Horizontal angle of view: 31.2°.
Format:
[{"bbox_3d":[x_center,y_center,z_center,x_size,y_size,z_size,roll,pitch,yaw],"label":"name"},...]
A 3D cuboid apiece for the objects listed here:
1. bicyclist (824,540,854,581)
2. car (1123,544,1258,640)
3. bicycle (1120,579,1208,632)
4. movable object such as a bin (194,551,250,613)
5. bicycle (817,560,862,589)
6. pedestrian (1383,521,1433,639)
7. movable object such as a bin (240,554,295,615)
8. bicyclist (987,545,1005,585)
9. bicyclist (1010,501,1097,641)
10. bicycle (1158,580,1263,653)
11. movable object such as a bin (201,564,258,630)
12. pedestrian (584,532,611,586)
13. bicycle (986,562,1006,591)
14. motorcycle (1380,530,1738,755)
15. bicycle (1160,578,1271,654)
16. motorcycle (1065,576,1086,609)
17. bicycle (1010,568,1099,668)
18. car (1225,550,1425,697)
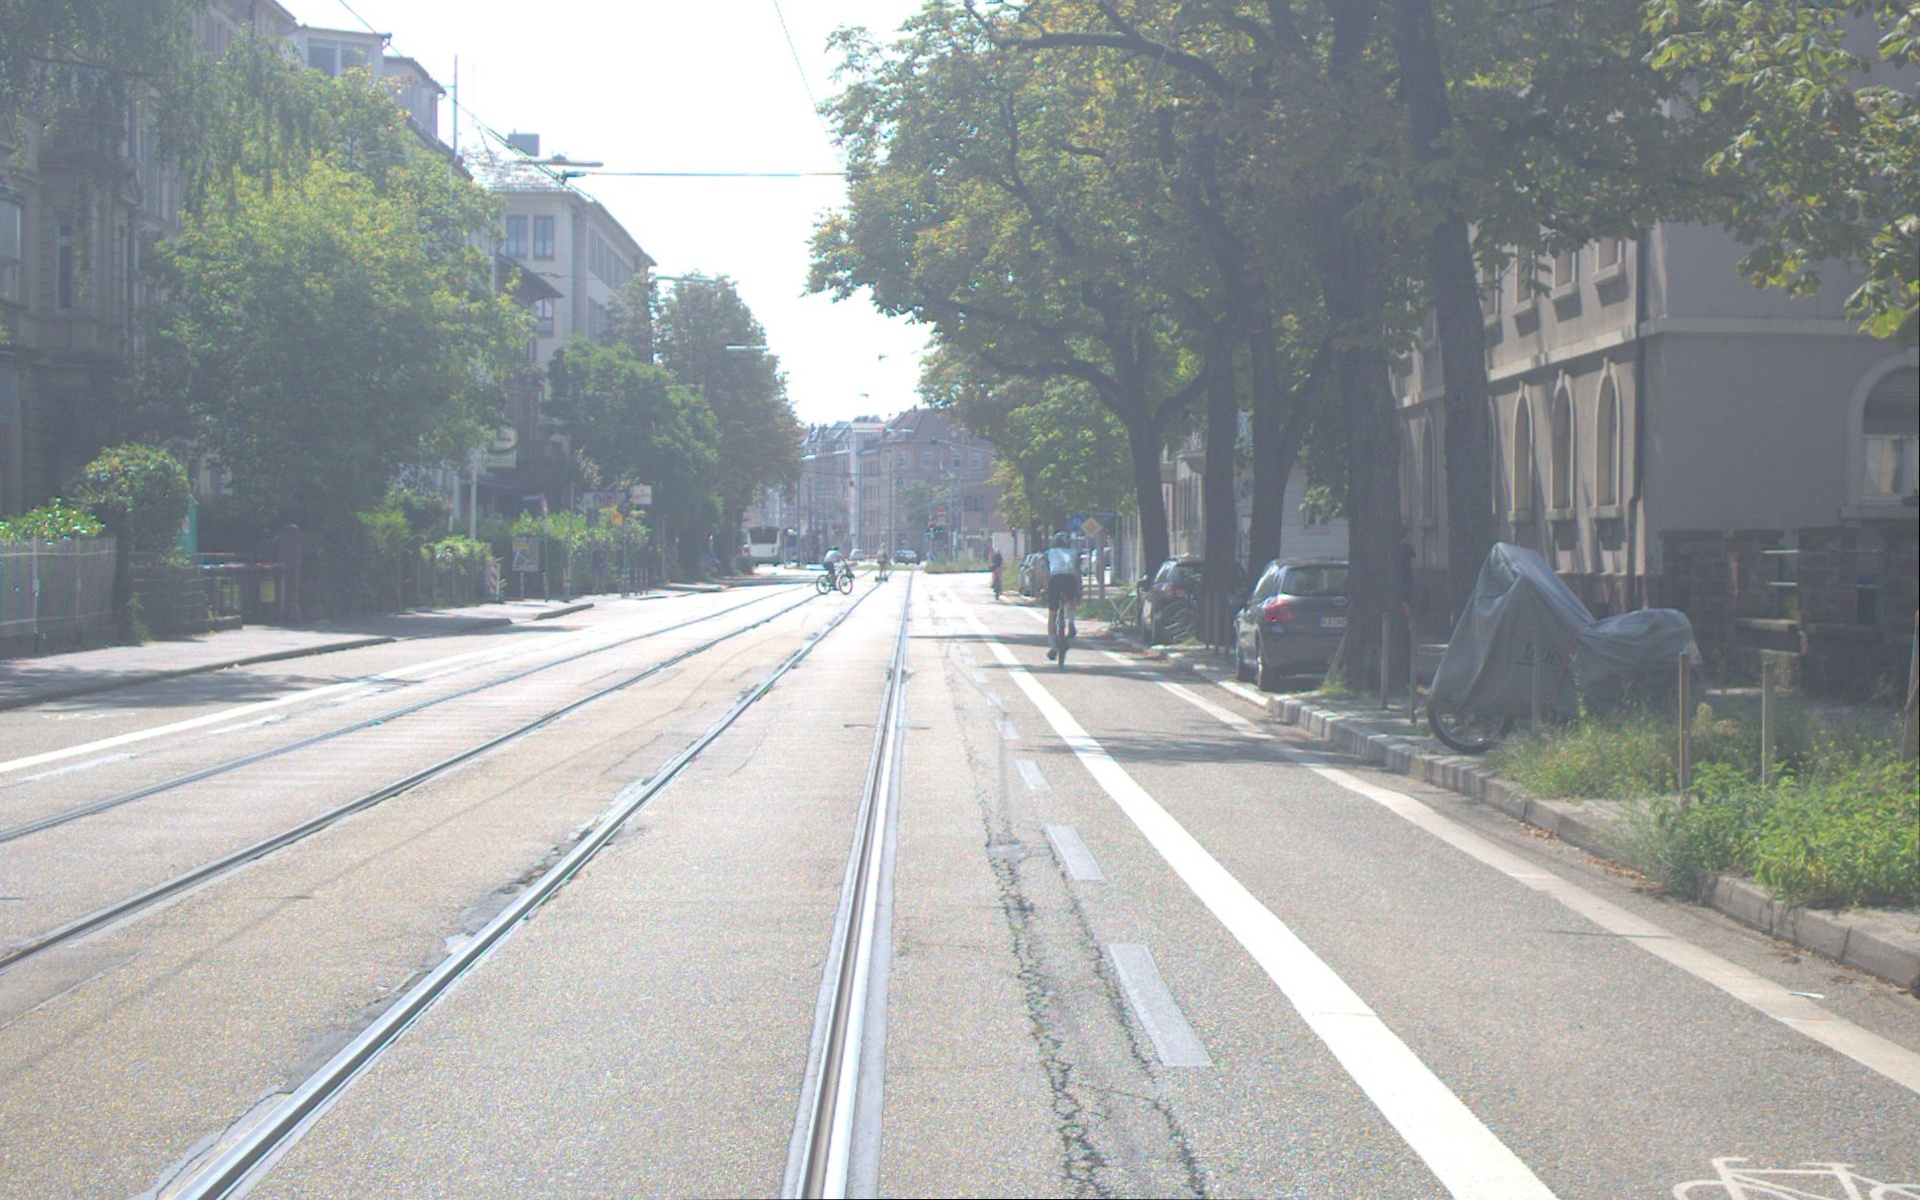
[{"bbox_3d":[-4.131,-1.336,117.260,0.759,1.387,0.778,1,0,20],"label":"bicyclist"},{"bbox_3d":[3.839,-0.154,57.963,1.840,1.527,4.780,-1,1,-1],"label":"car"},{"bbox_3d":[4.038,0.111,68.073,1.713,1.028,0.566,1,0,1],"label":"bicycle"},{"bbox_3d":[-13.284,-0.326,61.921,0.786,1.072,0.803,2,0,2],"label":"movable object such as a bin"},{"bbox_3d":[-4.099,-0.874,117.367,0.759,0.987,2.296,1,0,19],"label":"bicycle"},{"bbox_3d":[7.242,-0.322,55.558,0.706,1.885,0.714,1,0,1],"label":"pedestrian"},{"bbox_3d":[-12.480,-0.286,61.977,0.786,1.072,0.803,2,0,2],"label":"movable object such as a bin"},{"bbox_3d":[1.185,-1.147,112.438,0.579,1.274,0.471,1,0,1],"label":"bicyclist"},{"bbox_3d":[1.241,-0.388,45.787,1.125,1.830,0.956,1,0,0],"label":"bicyclist"},{"bbox_3d":[3.908,0.254,53.672,1.606,1.100,0.398,1,1,6],"label":"bicycle"},{"bbox_3d":[-12.336,-0.057,58.082,0.786,1.072,0.755,2,0,-2],"label":"movable object such as a bin"},{"bbox_3d":[-11.806,-1.318,111.908,0.779,1.750,1.040,0,0,0],"label":"pedestrian"},{"bbox_3d":[1.184,-0.760,112.493,0.588,0.936,2.171,1,0,2],"label":"bicycle"},{"bbox_3d":[4.276,0.315,24.666,2.344,1.535,0.966,-2,-1,41],"label":"motorcycle"},{"bbox_3d":[4.020,0.248,54.057,1.723,1.145,0.377,1,1,6],"label":"bicycle"},{"bbox_3d":[3.700,-0.244,110.087,0.549,1.064,2.330,1,0,0],"label":"motorcycle"},{"bbox_3d":[1.246,0.219,45.884,1.148,1.265,2.712,0,1,1],"label":"bicycle"},{"bbox_3d":[4.233,0.229,40.419,1.840,1.527,4.115,0,2,-1],"label":"car"}]
